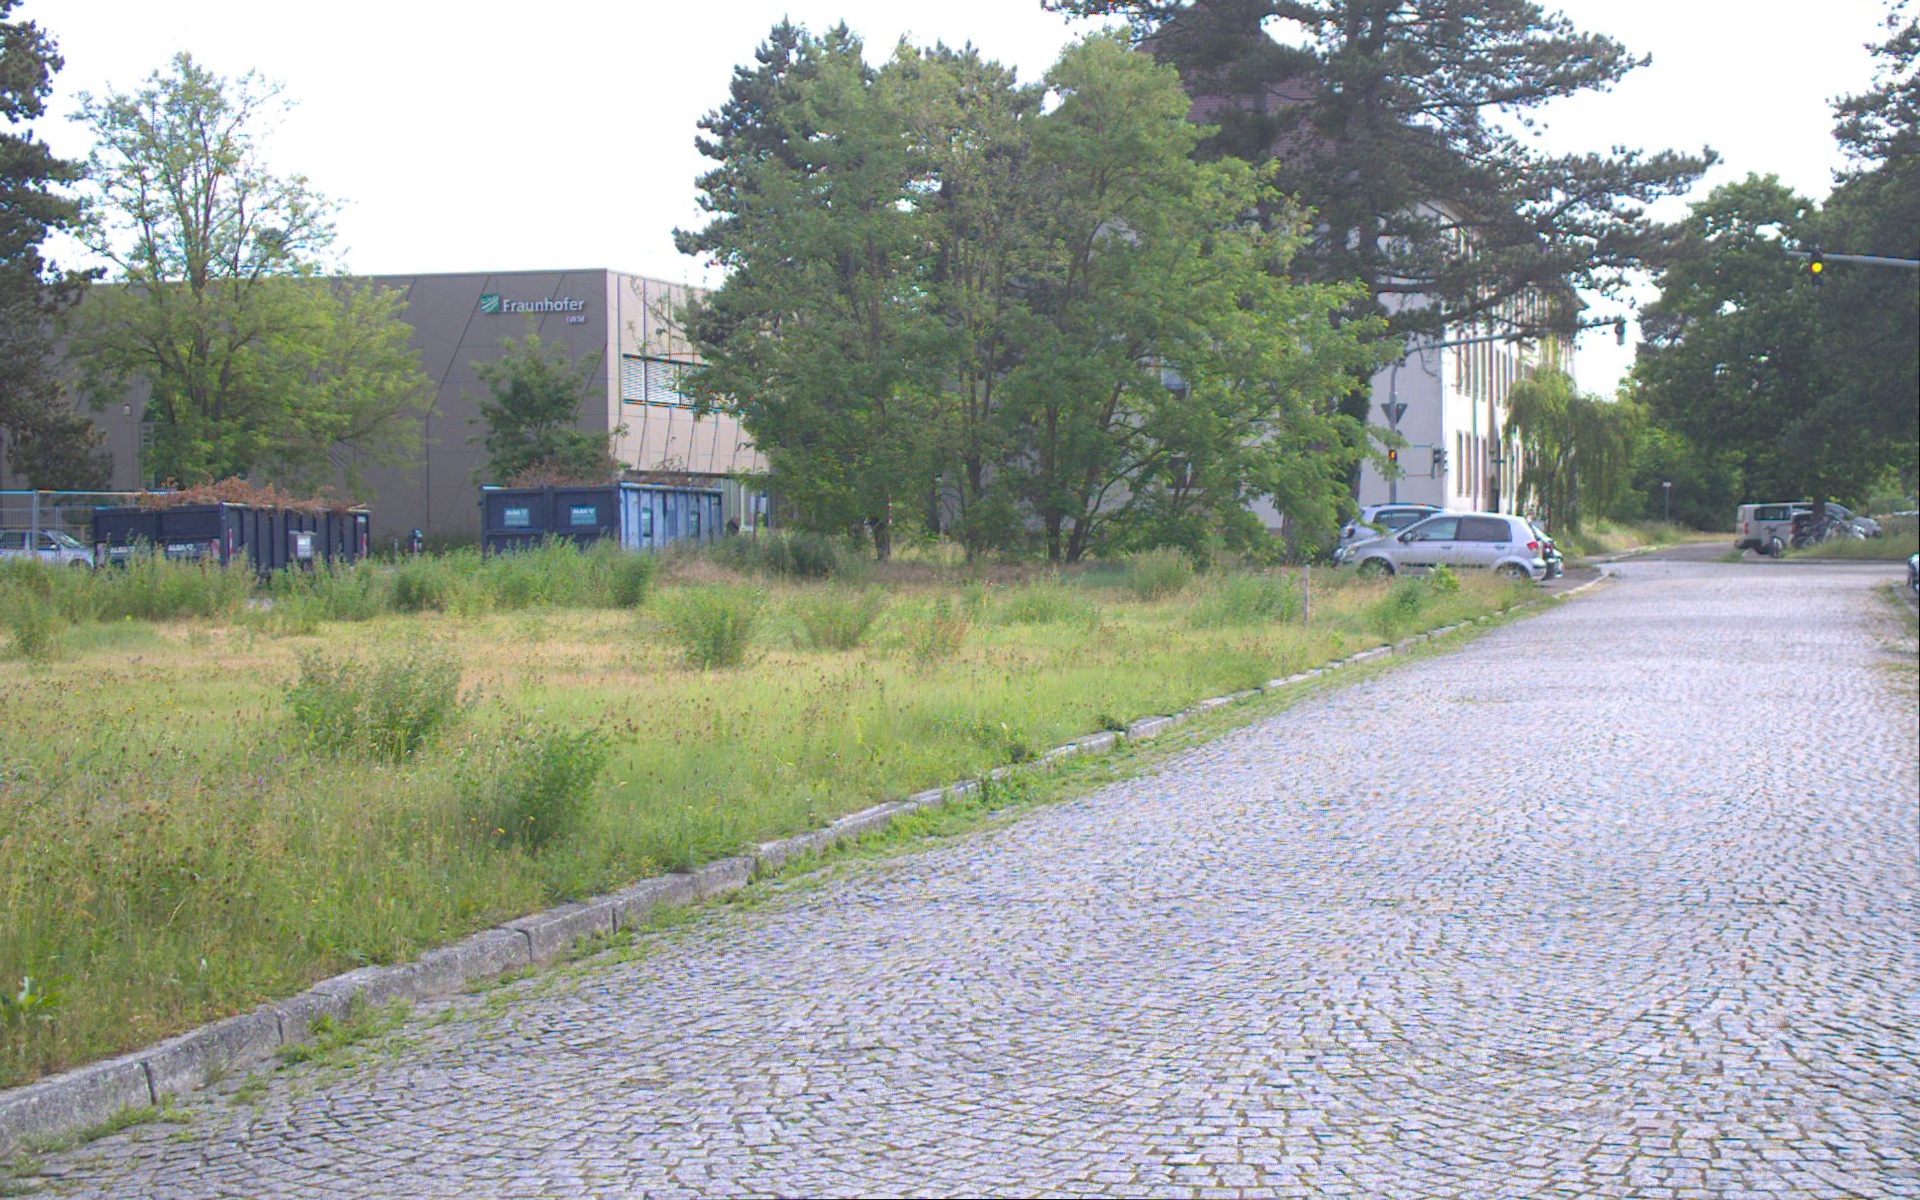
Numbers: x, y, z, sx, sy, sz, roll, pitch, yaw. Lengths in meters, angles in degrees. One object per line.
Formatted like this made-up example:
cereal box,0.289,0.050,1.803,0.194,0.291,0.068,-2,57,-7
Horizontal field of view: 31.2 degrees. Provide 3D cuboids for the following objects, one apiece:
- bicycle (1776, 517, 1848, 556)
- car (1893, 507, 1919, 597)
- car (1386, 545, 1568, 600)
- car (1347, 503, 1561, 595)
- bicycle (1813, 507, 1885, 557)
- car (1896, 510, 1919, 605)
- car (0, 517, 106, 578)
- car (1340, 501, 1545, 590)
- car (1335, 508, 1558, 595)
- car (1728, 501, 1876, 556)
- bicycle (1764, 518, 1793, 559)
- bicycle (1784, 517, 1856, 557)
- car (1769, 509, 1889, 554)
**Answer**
bicycle,27.677,-2.056,111.705,2.161,1.264,0.812,0,1,8
car,18.270,-0.848,59.099,4.124,1.538,1.664,0,2,8
car,10.645,-0.571,70.883,3.672,1.090,1.646,0,2,8
car,9.434,-0.987,65.777,3.988,1.700,2.000,0,2,8
bicycle,28.691,-2.199,110.926,2.161,1.610,0.812,0,1,8
car,17.508,-0.720,56.383,3.988,1.538,1.664,0,2,8
car,-24.565,-1.382,89.750,3.989,1.548,1.808,0,2,14
car,9.631,-1.099,68.811,3.988,1.744,1.927,0,1,7
car,8.945,-0.899,63.276,3.988,1.546,2.000,0,2,8
car,31.157,-2.669,127.334,5.051,2.007,2.000,0,1,4
bicycle,25.374,-1.907,106.558,0.810,1.264,1.972,0,1,15
bicycle,27.483,-2.028,109.898,2.161,1.264,0.812,0,1,8
car,31.317,-2.473,123.918,3.988,1.638,1.999,0,1,8
